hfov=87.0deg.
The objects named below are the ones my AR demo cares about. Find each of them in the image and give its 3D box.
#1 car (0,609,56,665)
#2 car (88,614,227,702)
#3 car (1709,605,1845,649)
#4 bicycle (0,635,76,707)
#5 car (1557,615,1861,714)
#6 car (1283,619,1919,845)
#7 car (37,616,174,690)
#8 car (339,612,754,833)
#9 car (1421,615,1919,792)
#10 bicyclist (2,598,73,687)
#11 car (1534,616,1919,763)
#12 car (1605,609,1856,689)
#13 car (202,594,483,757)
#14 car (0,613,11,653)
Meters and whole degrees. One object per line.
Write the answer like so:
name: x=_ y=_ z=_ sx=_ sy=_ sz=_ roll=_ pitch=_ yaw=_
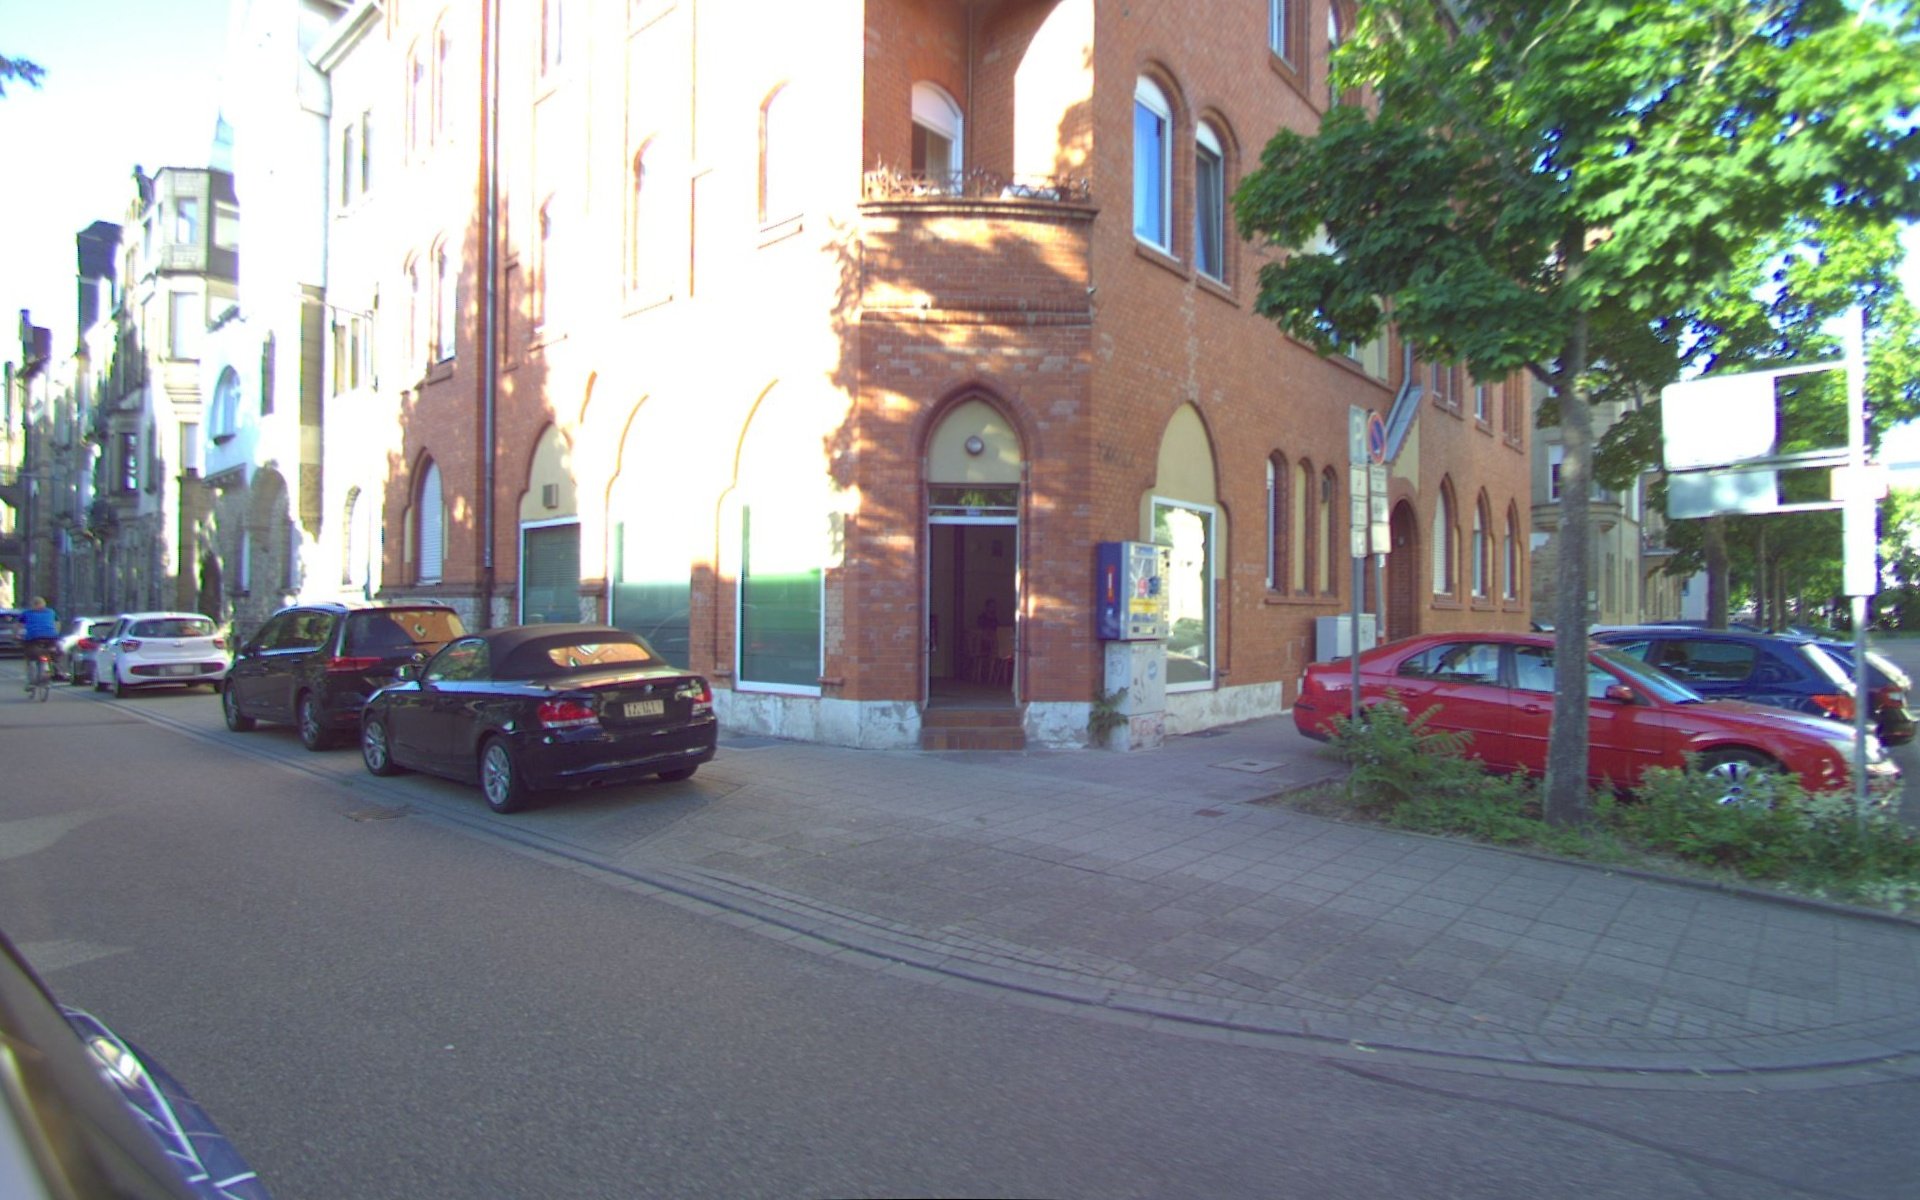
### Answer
car: x=-31.155 y=1.193 z=33.117 sx=4.337 sy=1.730 sz=1.856 roll=-1 pitch=0 yaw=41
car: x=-15.252 y=1.036 z=19.174 sx=3.591 sy=1.481 sz=1.549 roll=-1 pitch=-1 yaw=43
car: x=33.212 y=1.090 z=41.251 sx=4.209 sy=1.713 sz=1.695 roll=-1 pitch=-2 yaw=40
bicycle: x=-15.824 y=1.184 z=17.339 sx=1.906 sy=1.116 sz=0.750 roll=0 pitch=-1 yaw=41
car: x=13.243 y=1.060 z=18.080 sx=4.211 sy=1.562 sz=1.695 roll=-1 pitch=-2 yaw=41
car: x=5.461 y=0.946 z=9.046 sx=4.656 sy=1.480 sz=1.618 roll=0 pitch=0 yaw=42
car: x=-19.068 y=1.123 z=22.528 sx=4.108 sy=1.453 sz=1.660 roll=-1 pitch=0 yaw=40
car: x=-3.817 y=0.857 z=8.931 sx=4.331 sy=1.421 sz=1.619 roll=0 pitch=2 yaw=42
car: x=7.476 y=0.955 z=10.967 sx=4.211 sy=1.562 sz=1.695 roll=-1 pitch=-2 yaw=41
bicyclist: x=-15.819 y=0.713 z=17.354 sx=0.948 sy=1.465 sz=0.751 roll=0 pitch=-2 yaw=41
car: x=9.475 y=0.981 z=12.506 sx=3.914 sy=1.523 sz=1.695 roll=0 pitch=-1 yaw=41
car: x=16.606 y=1.004 z=21.949 sx=4.211 sy=1.562 sz=1.695 roll=-1 pitch=-2 yaw=42
car: x=-7.766 y=0.788 z=12.556 sx=4.346 sy=1.693 sz=1.653 roll=0 pitch=0 yaw=40
car: x=-39.872 y=1.310 z=40.943 sx=4.210 sy=1.512 sz=1.751 roll=1 pitch=0 yaw=41
